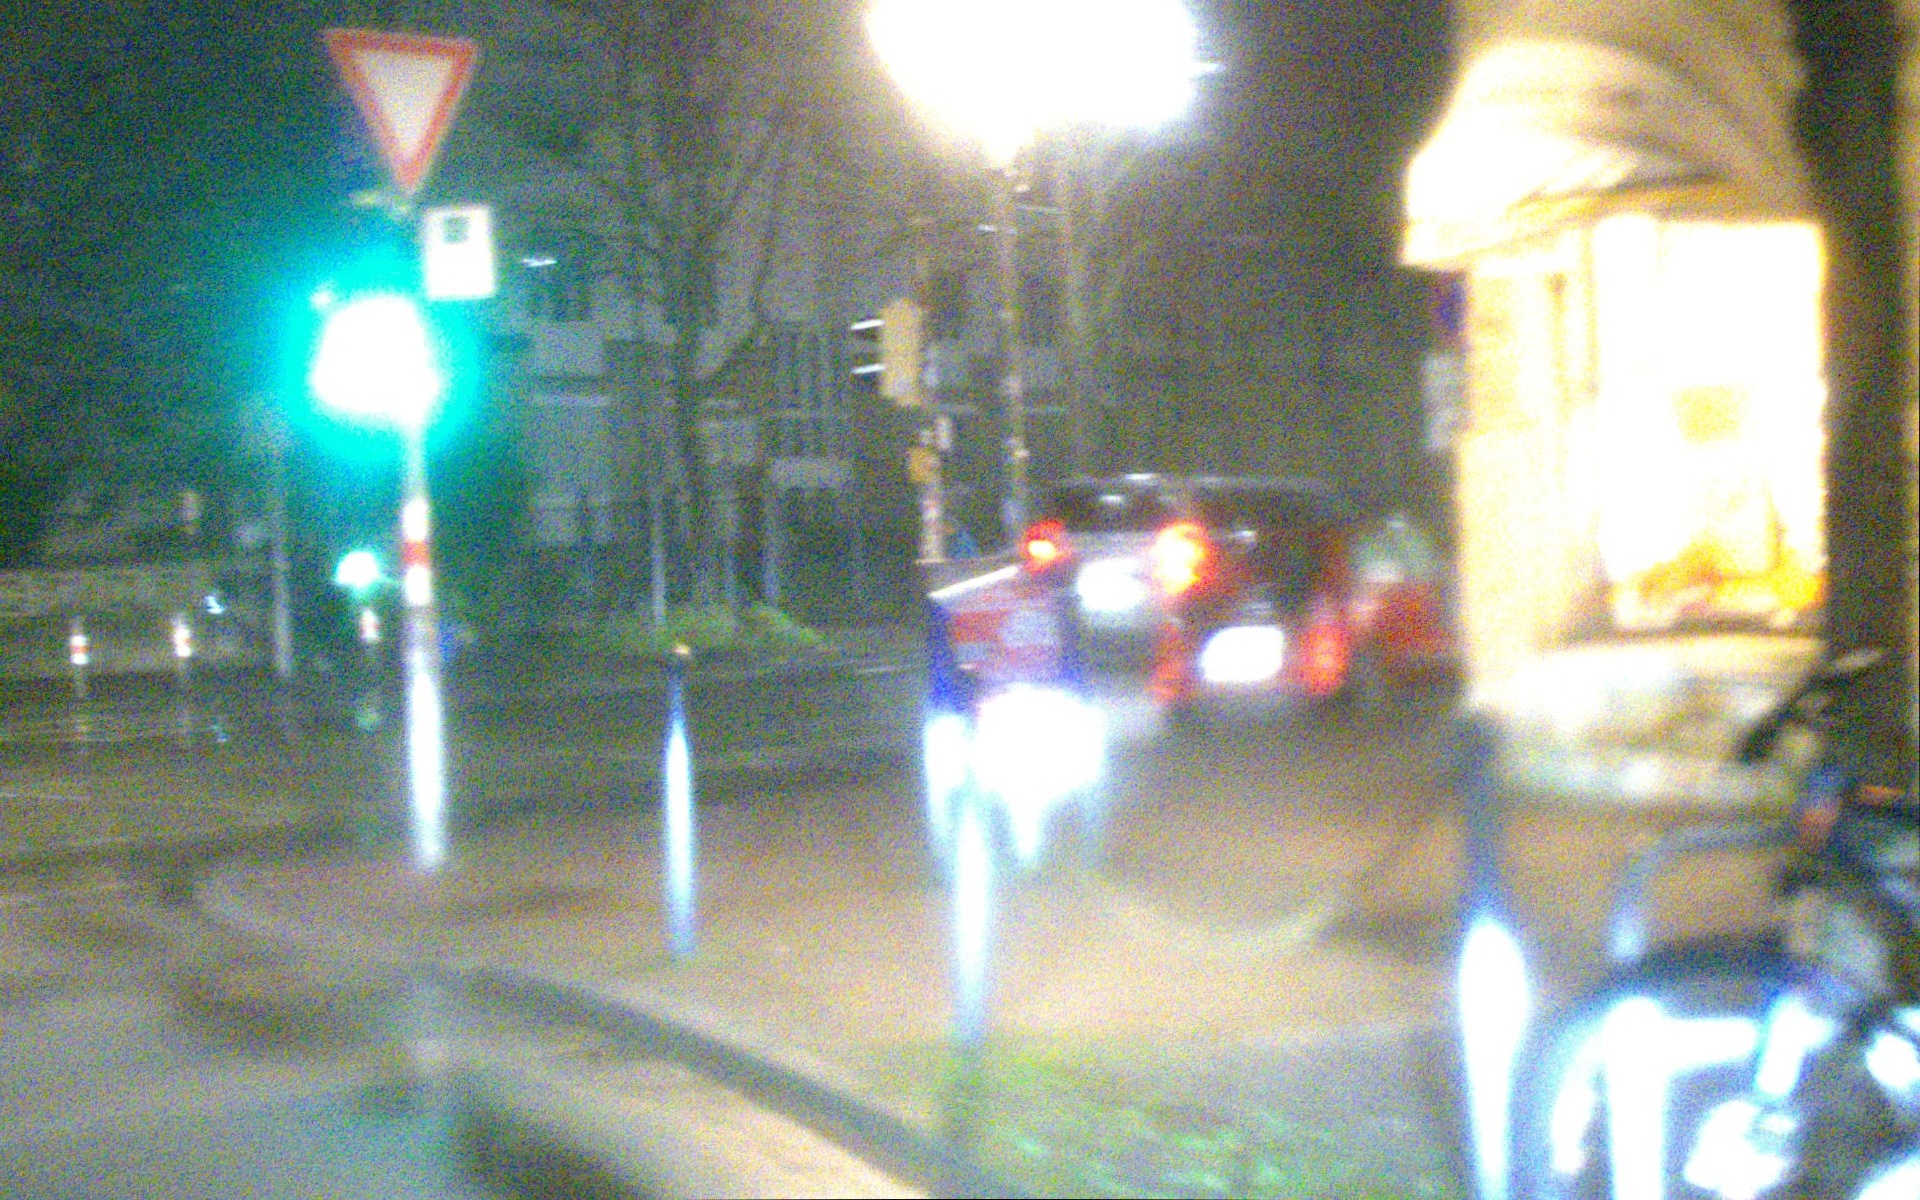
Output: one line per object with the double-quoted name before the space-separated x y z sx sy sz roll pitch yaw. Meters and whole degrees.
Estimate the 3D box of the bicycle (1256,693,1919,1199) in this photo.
"bicycle" 1.603 0.700 6.364 1.968 1.003 0.642 -2 1 -10

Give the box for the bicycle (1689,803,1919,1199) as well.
"bicycle" 1.996 0.745 4.352 1.968 1.003 0.642 -2 1 -10

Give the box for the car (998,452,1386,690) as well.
"car" 2.667 -0.381 37.976 2.220 2.433 5.376 0 2 28

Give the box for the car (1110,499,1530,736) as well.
"car" 2.803 0.097 26.144 1.650 1.520 3.574 -6 -1 32

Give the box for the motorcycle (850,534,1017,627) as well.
"motorcycle" -0.396 -0.278 49.763 2.318 1.226 0.710 -3 -1 -4

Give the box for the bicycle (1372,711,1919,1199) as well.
"bicycle" 1.733 0.708 5.602 1.968 1.031 0.642 -2 1 -10

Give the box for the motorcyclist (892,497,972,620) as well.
"motorcyclist" -0.413 -0.596 49.771 1.025 1.725 0.710 -3 -1 -4

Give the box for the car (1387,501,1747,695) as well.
"car" 5.468 -0.054 30.598 1.648 1.437 4.049 -6 -1 32
